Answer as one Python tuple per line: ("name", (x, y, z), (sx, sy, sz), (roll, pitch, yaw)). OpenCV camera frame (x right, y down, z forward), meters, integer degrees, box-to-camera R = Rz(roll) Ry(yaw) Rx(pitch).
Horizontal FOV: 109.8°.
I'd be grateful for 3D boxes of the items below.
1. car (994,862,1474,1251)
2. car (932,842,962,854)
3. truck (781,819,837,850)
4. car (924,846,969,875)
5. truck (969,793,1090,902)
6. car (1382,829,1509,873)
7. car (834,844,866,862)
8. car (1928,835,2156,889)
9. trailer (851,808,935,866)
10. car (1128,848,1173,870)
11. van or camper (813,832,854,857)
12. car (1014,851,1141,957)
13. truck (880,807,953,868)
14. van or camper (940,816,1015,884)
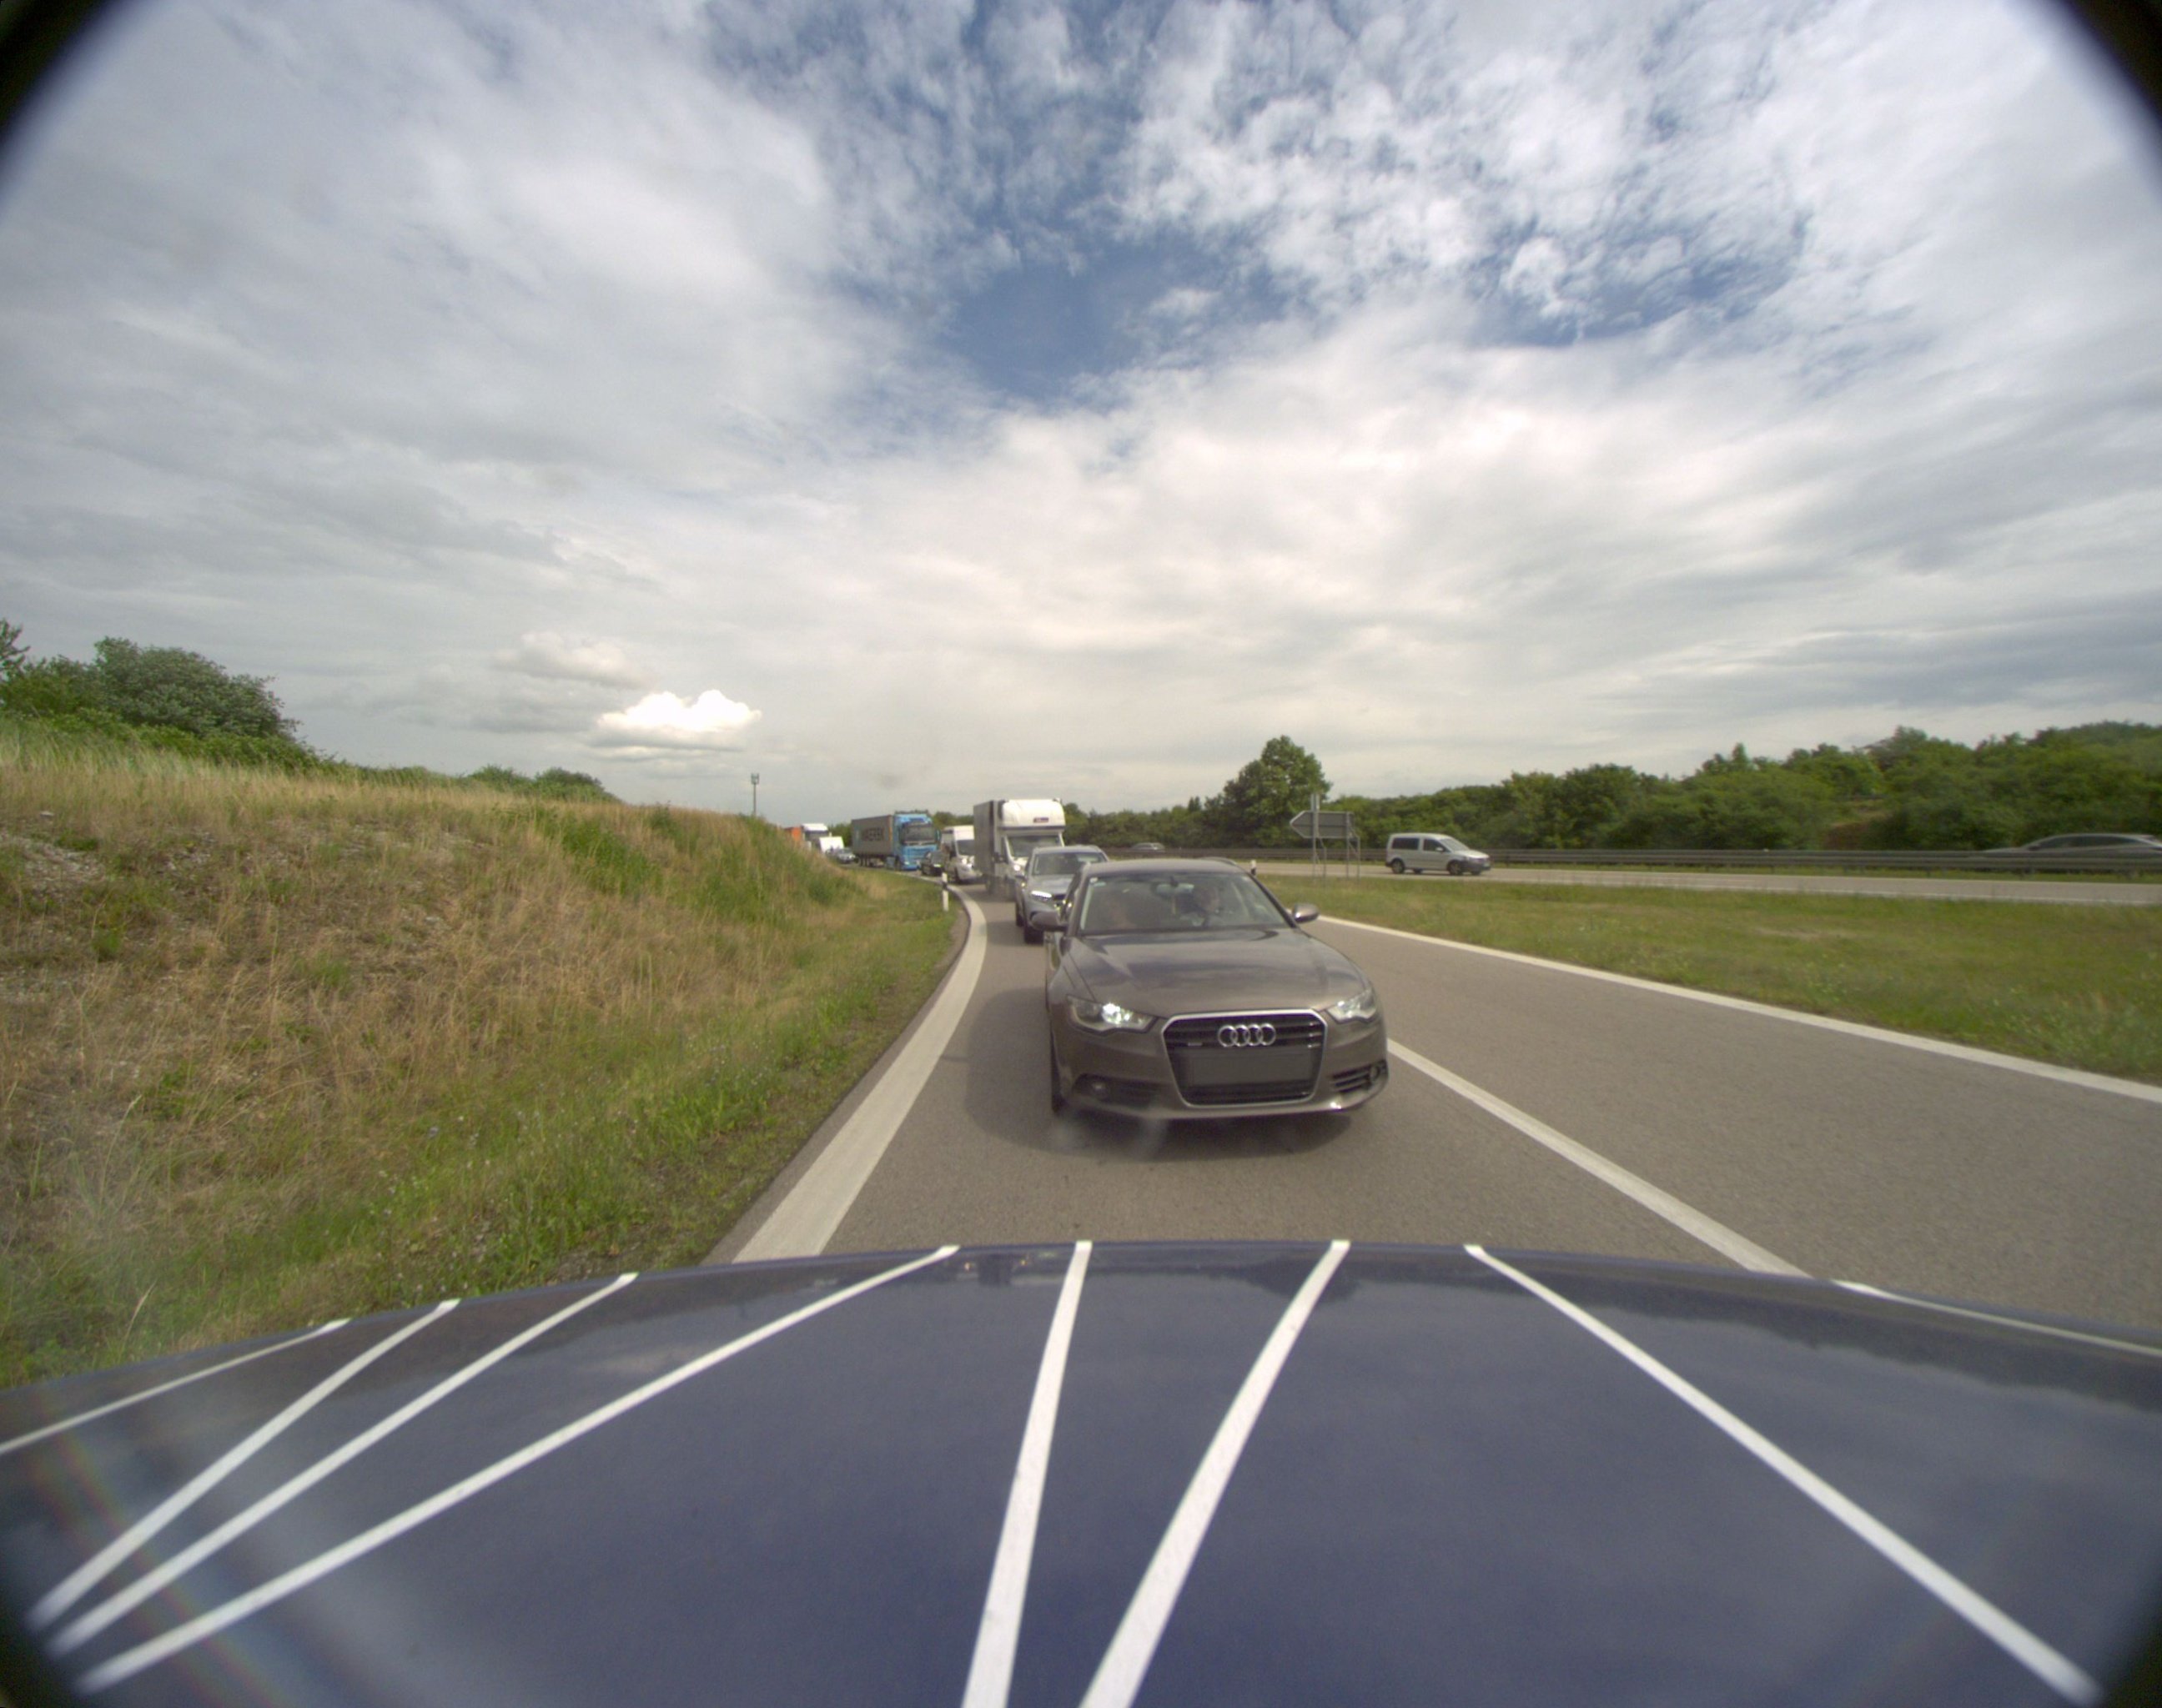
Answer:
("car", (0.635, 0.879, 5.485), (1.999, 1.505, 4.537), (-2, 1, -1))
("car", (-16.394, -0.748, 92.907), (2.003, 1.415, 4.446), (-2, 2, -33))
("truck", (-30.517, -2.067, 84.877), (3.131, 3.220, 11.131), (-2, 1, -34))
("car", (-7.991, 0.351, 44.900), (2.002, 1.609, 3.992), (-1, 1, -19))
("truck", (-2.027, -0.218, 26.107), (2.570, 3.149, 7.457), (-2, 1, -15))
("car", (15.847, -0.152, 33.254), (2.215, 1.783, 4.500), (-1, 2, -33))
("car", (-21.290, -0.117, 69.959), (2.003, 1.521, 3.990), (-2, 2, -29))
("car", (34.688, 0.218, 27.619), (1.719, 1.783, 4.966), (-1, 2, -33))
("trailer", (-15.224, -1.227, 60.575), (3.280, 4.137, 11.989), (-3, 1, -29))
("car", (6.372, 0.443, 69.748), (1.847, 1.862, 4.196), (-3, 1, -34))
("van or camper", (-24.535, -0.999, 75.079), (2.557, 2.200, 5.693), (-3, 5, -31))
("car", (-0.223, 0.768, 13.969), (1.843, 1.587, 4.170), (-1, 1, -7))
("truck", (-11.894, -1.137, 54.533), (3.184, 4.049, 6.631), (-3, 1, -29))
("van or camper", (-4.996, -0.194, 35.782), (2.401, 2.892, 5.711), (-3, 1, -18))
